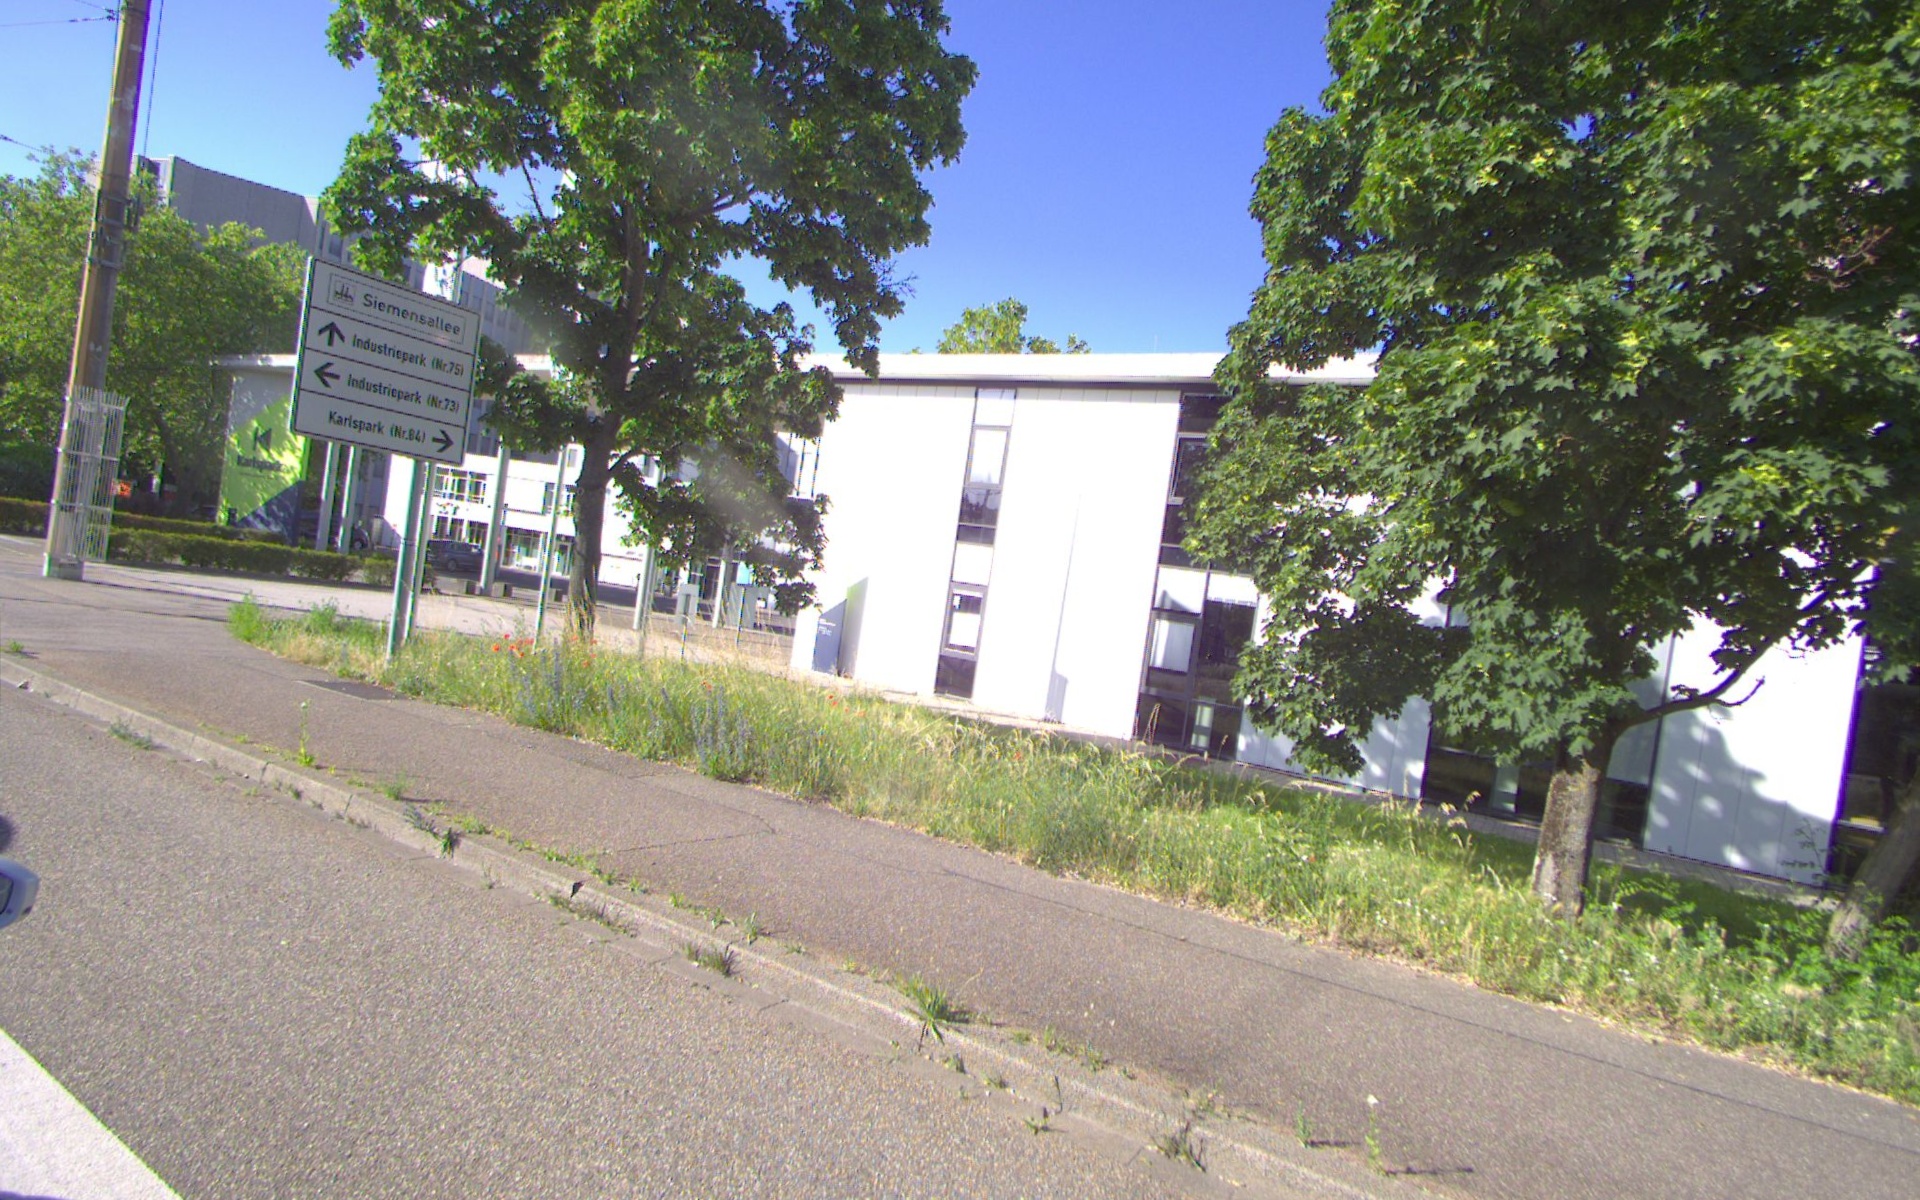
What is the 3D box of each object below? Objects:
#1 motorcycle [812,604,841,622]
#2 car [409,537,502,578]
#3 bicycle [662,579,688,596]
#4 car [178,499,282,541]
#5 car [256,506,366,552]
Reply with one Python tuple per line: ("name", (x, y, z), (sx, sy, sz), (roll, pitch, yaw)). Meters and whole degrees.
("motorcycle", (-9.021, 0.890, 67.837), (1.701, 0.959, 0.653), (8, 0, 17))
("car", (-26.717, -2.218, 53.417), (1.918, 1.597, 4.000), (8, -1, 23))
("bicycle", (-20.309, -0.887, 71.640), (1.591, 1.016, 0.566), (8, 0, 17))
("car", (-42.699, -4.643, 58.921), (1.861, 1.706, 4.468), (8, -1, 26))
("car", (-36.327, -3.919, 56.467), (2.052, 1.778, 4.900), (8, -1, 17))
